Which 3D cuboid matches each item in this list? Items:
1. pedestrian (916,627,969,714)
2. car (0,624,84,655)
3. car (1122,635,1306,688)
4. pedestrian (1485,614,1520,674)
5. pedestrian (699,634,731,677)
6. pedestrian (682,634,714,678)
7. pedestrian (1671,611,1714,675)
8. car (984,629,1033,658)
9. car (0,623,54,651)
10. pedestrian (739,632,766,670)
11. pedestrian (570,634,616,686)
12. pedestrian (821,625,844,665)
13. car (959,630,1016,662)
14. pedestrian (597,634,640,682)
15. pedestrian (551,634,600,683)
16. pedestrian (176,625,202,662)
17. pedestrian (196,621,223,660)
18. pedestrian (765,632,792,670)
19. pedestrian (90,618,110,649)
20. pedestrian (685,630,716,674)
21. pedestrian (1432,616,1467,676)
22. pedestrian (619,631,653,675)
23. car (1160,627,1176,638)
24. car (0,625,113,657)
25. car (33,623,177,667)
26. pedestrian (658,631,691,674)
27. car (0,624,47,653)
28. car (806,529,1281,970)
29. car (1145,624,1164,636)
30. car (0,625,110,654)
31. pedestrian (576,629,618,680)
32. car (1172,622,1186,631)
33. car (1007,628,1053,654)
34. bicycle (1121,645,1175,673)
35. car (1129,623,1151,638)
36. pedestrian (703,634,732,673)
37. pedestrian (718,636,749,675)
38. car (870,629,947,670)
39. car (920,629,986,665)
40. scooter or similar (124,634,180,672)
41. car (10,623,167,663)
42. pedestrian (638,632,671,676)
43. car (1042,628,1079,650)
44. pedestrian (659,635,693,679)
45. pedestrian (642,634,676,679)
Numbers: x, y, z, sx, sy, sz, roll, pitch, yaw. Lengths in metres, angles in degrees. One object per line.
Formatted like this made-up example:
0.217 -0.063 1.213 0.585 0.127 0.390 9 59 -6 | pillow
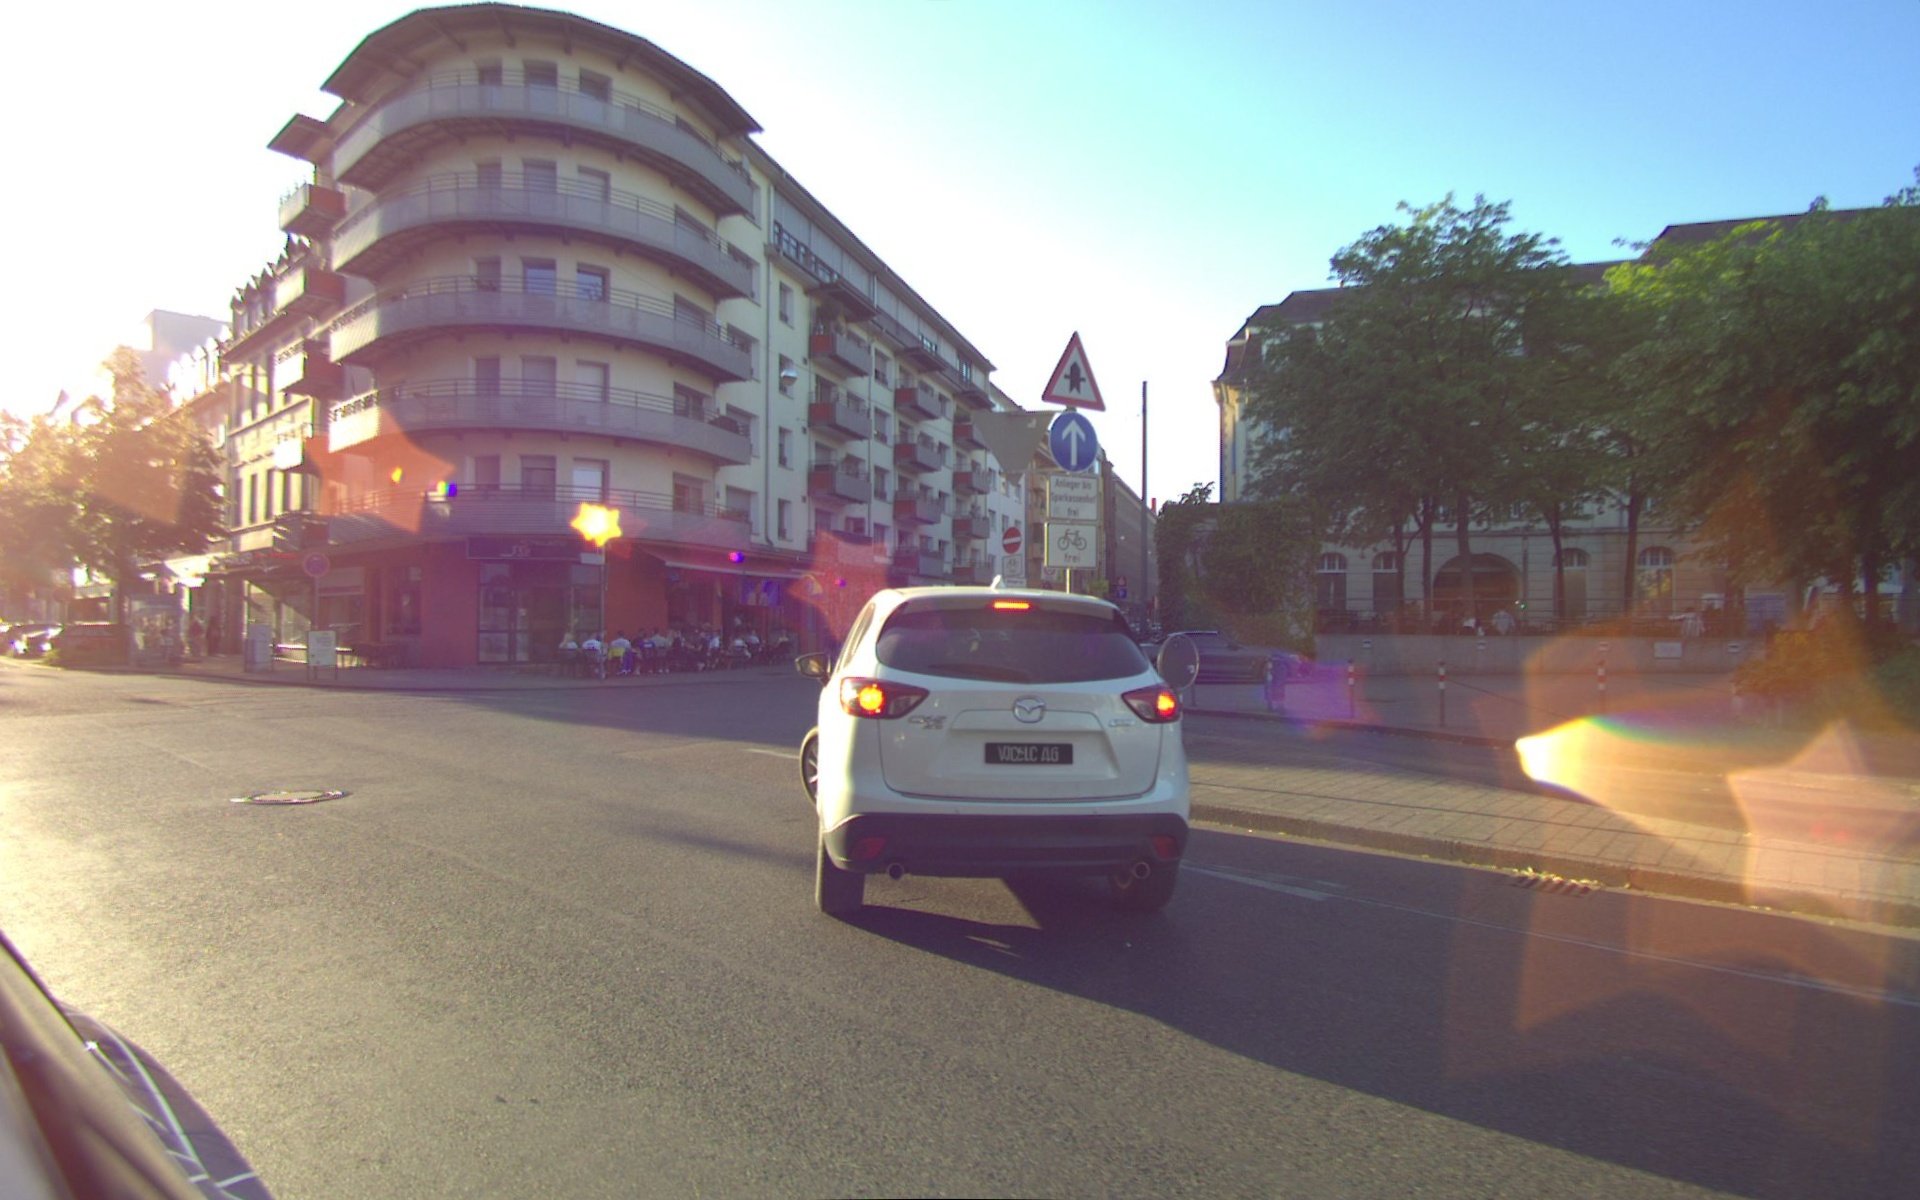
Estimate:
-0.314 1.296 18.968 0.761 1.579 0.895 -1 -2 16 | pedestrian
-48.174 2.037 52.644 1.804 1.455 3.702 -1 -1 38 | car
6.505 1.577 26.415 4.479 1.328 1.993 -1 -2 11 | car
14.649 1.180 27.334 0.696 1.598 0.618 1 -1 18 | pedestrian
-7.587 1.712 31.374 0.699 1.297 0.615 1 -1 32 | pedestrian
-7.913 1.690 30.568 0.699 1.297 0.615 1 -1 32 | pedestrian
18.761 1.088 25.934 0.648 1.598 0.787 1 -1 16 | pedestrian
2.889 2.509 59.363 1.954 1.608 3.976 -1 -2 18 | car
-57.023 2.224 60.291 1.888 1.608 4.361 -2 -1 40 | car
-7.332 1.784 35.805 0.696 1.297 0.617 1 -1 20 | pedestrian
-9.465 1.532 26.117 0.746 1.283 0.820 1 -1 33 | pedestrian
-4.842 1.700 38.493 0.616 1.480 0.698 1 -1 15 | pedestrian
1.487 2.390 53.033 1.954 1.608 3.976 -1 -2 18 | car
-9.214 1.550 27.313 0.827 1.256 0.715 1 -1 35 | pedestrian
-10.035 1.512 26.408 0.765 1.251 0.890 1 -1 33 | pedestrian
-32.579 1.824 42.760 0.875 1.539 0.726 0 0 42 | pedestrian
-32.150 1.738 43.365 0.875 1.620 0.764 0 0 42 | pedestrian
-6.415 1.803 35.812 0.696 1.297 0.617 1 -1 20 | pedestrian
-49.327 1.906 58.059 0.875 1.734 0.764 0 0 42 | pedestrian
-8.254 1.640 32.217 0.699 1.343 0.615 1 -1 32 | pedestrian
13.437 1.258 27.804 0.763 1.598 0.686 1 -1 18 | pedestrian
-9.495 1.535 29.681 0.699 1.256 0.615 1 -1 32 | pedestrian
30.974 4.843 150.623 1.954 1.608 3.976 -1 -2 18 | car
-43.919 1.967 49.104 1.882 1.414 4.066 -2 -1 39 | car
-32.753 1.687 38.844 1.883 1.548 4.030 -2 -1 41 | car
-8.787 1.611 31.200 0.699 1.297 0.649 1 -1 32 | pedestrian
-51.754 2.108 54.576 1.714 1.513 3.520 -2 -1 40 | car
0.048 0.665 6.441 1.968 1.774 4.474 0 -2 -9 | car
25.811 3.968 134.328 1.954 1.608 3.976 -1 -2 18 | car
-45.683 1.970 51.078 1.843 1.414 4.052 -2 -2 43 | car
-10.012 1.492 27.925 0.827 1.358 0.740 1 -1 35 | pedestrian
37.966 4.621 175.108 1.954 1.608 3.976 -1 -2 18 | car
4.427 2.546 63.591 1.954 1.608 3.976 -1 -2 18 | car
6.501 2.044 35.028 1.783 0.930 0.509 -1 -2 8 | bicycle
20.659 3.474 115.825 1.954 1.608 3.976 -1 -2 18 | car
-8.114 1.781 33.855 0.698 1.234 0.616 1 -1 28 | pedestrian
-7.321 1.778 32.733 0.698 1.234 0.616 1 -1 28 | pedestrian
-2.080 2.002 42.084 1.954 1.608 3.976 -1 -2 18 | car
-0.277 2.195 47.705 1.954 1.608 3.976 -1 -2 18 | car
-26.981 1.755 33.805 0.525 1.235 1.384 -2 -1 38 | scooter or similar
-34.625 1.676 40.313 1.820 1.418 4.524 -2 -1 40 | car
-9.125 1.602 30.264 0.699 1.256 0.615 1 -1 32 | pedestrian
7.353 2.827 73.855 1.954 1.608 3.976 -1 -2 18 | car
-8.363 1.655 29.778 0.699 1.256 0.615 1 -1 32 | pedestrian
-8.672 1.619 29.138 0.699 1.256 0.615 1 -1 32 | pedestrian
